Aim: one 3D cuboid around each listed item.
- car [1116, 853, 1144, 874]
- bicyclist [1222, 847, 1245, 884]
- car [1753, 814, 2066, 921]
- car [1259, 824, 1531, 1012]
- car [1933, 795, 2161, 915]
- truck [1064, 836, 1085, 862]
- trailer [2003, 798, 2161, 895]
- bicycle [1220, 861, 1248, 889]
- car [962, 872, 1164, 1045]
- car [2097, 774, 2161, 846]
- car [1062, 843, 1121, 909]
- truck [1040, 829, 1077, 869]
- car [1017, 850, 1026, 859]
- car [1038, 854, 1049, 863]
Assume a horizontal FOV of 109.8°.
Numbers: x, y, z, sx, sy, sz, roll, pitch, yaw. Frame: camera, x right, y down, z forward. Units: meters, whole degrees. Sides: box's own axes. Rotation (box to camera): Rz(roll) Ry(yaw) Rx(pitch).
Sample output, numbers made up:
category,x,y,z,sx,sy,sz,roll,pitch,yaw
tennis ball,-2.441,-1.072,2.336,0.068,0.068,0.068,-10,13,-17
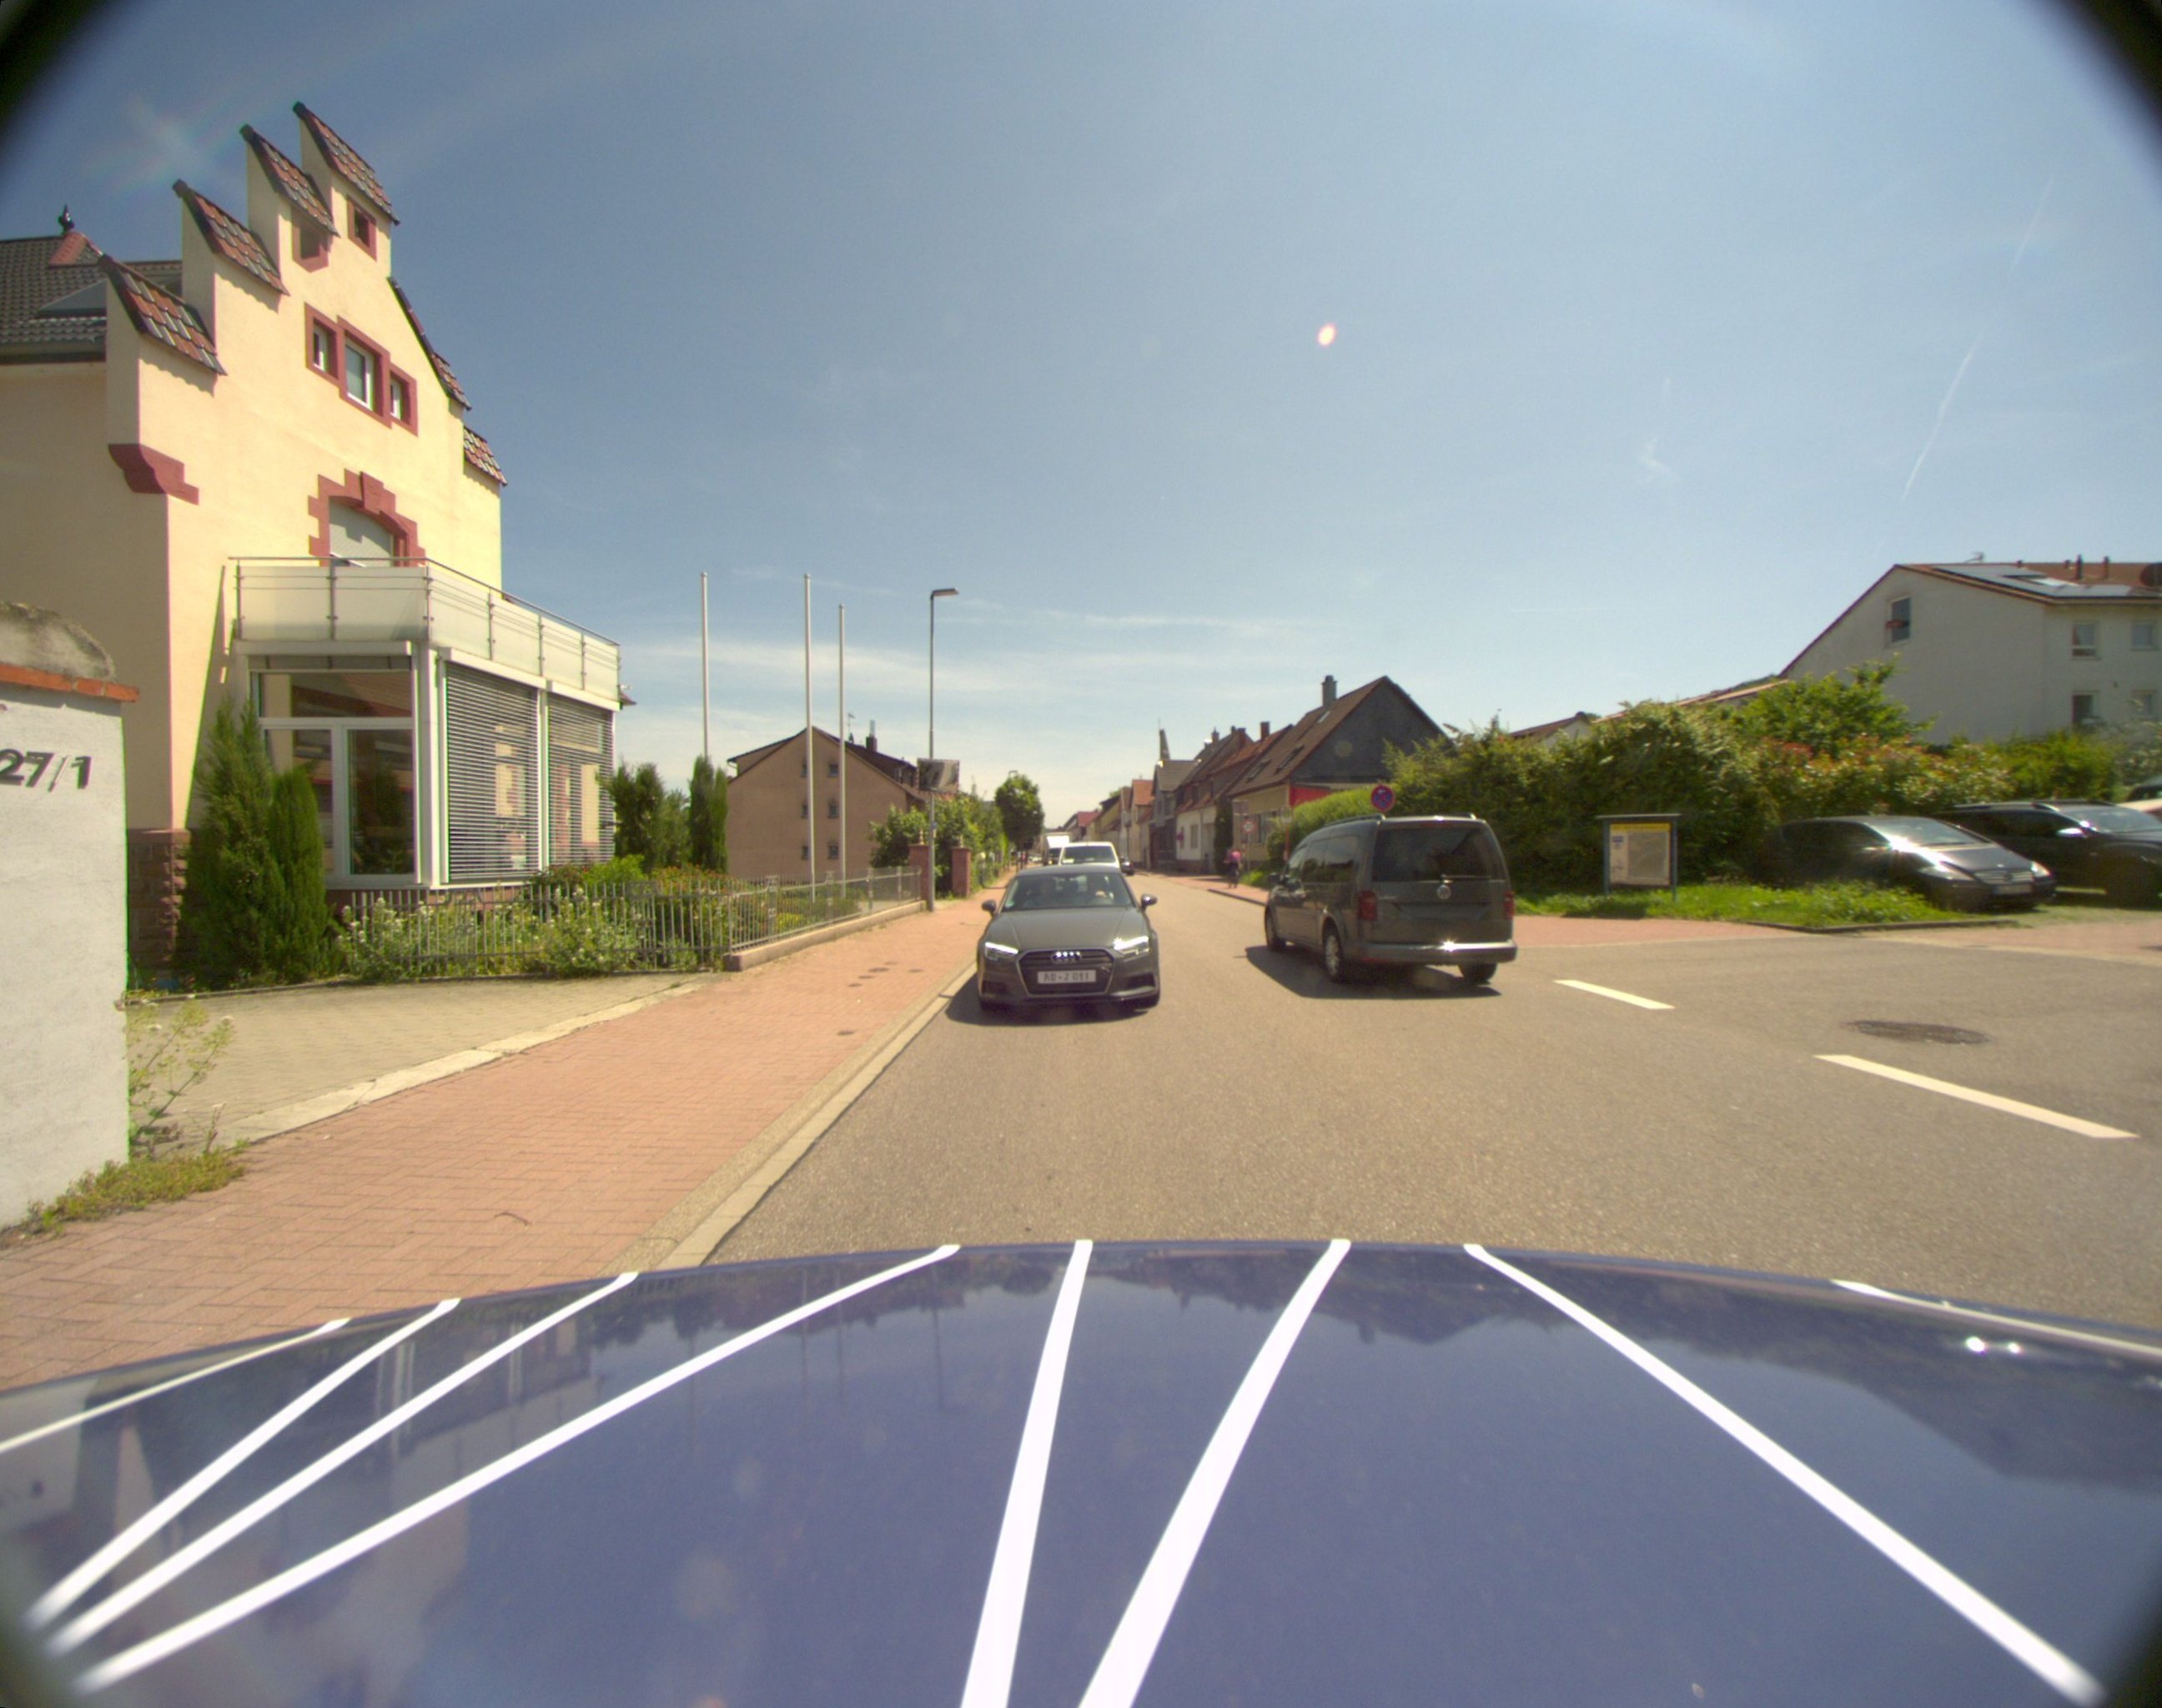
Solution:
category,x,y,z,sx,sy,sz,roll,pitch,yaw
car,3.421,0.670,53.333,1.710,1.362,3.868,2,0,1
bicyclist,6.235,0.455,31.038,0.660,1.485,0.909,-3,1,0
car,14.254,0.189,13.421,1.627,1.532,3.652,-3,1,4
car,3.596,0.620,9.677,1.660,1.844,4.464,0,0,1
car,17.011,-0.032,12.711,1.627,1.769,3.511,-3,1,4
truck,-1.007,-0.782,112.937,2.574,3.679,10.073,0,0,-4
trailer,19.523,-0.169,14.089,1.430,1.654,2.691,-5,1,-4
bicycle,6.257,0.832,31.133,0.672,1.050,2.026,-3,1,0
car,-0.164,0.954,8.592,1.705,1.346,3.999,-2,0,0
car,27.399,-1.134,18.455,3.639,1.724,1.420,-3,1,-2
car,0.252,0.615,23.228,1.637,1.833,3.569,-1,1,-1
truck,-2.353,-0.511,74.139,2.899,3.516,12.947,-1,0,-4
car,-11.776,0.097,150.651,1.637,1.572,3.568,1,0,-4
car,-6.035,0.730,122.346,1.508,1.432,3.534,-3,1,-4
